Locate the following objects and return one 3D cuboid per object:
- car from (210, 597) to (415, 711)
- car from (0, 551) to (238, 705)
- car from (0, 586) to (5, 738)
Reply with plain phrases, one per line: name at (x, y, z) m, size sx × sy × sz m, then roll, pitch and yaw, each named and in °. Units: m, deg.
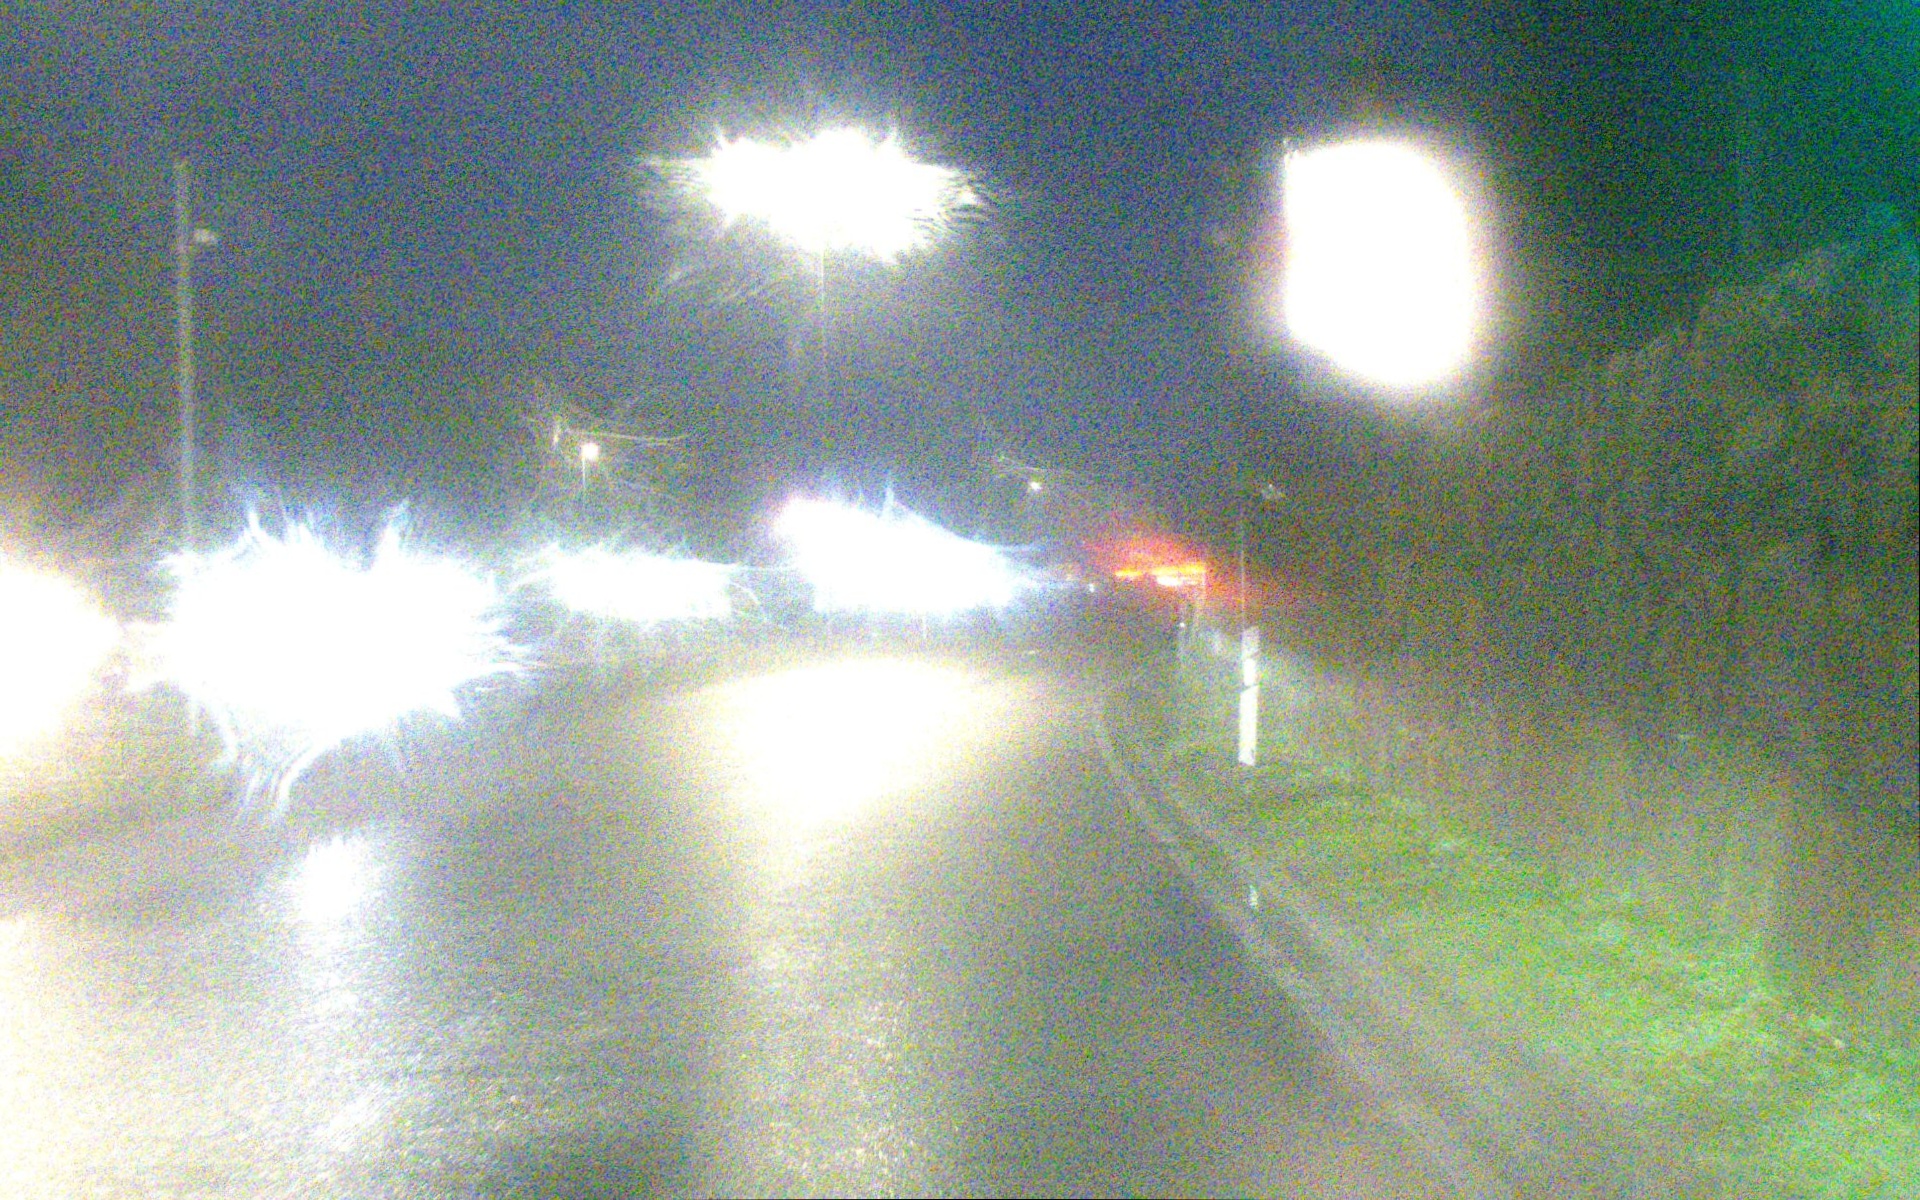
car at (-9.112, 0.771, 48.707) m, size 1.708 × 1.529 × 4.599 m, roll 0°, pitch -1°, yaw 4°
car at (-9.874, 0.338, 40.083) m, size 1.718 × 1.697 × 4.142 m, roll 0°, pitch -1°, yaw 5°
car at (-10.489, 0.587, 32.644) m, size 1.585 × 1.520 × 3.651 m, roll 0°, pitch -1°, yaw 4°
